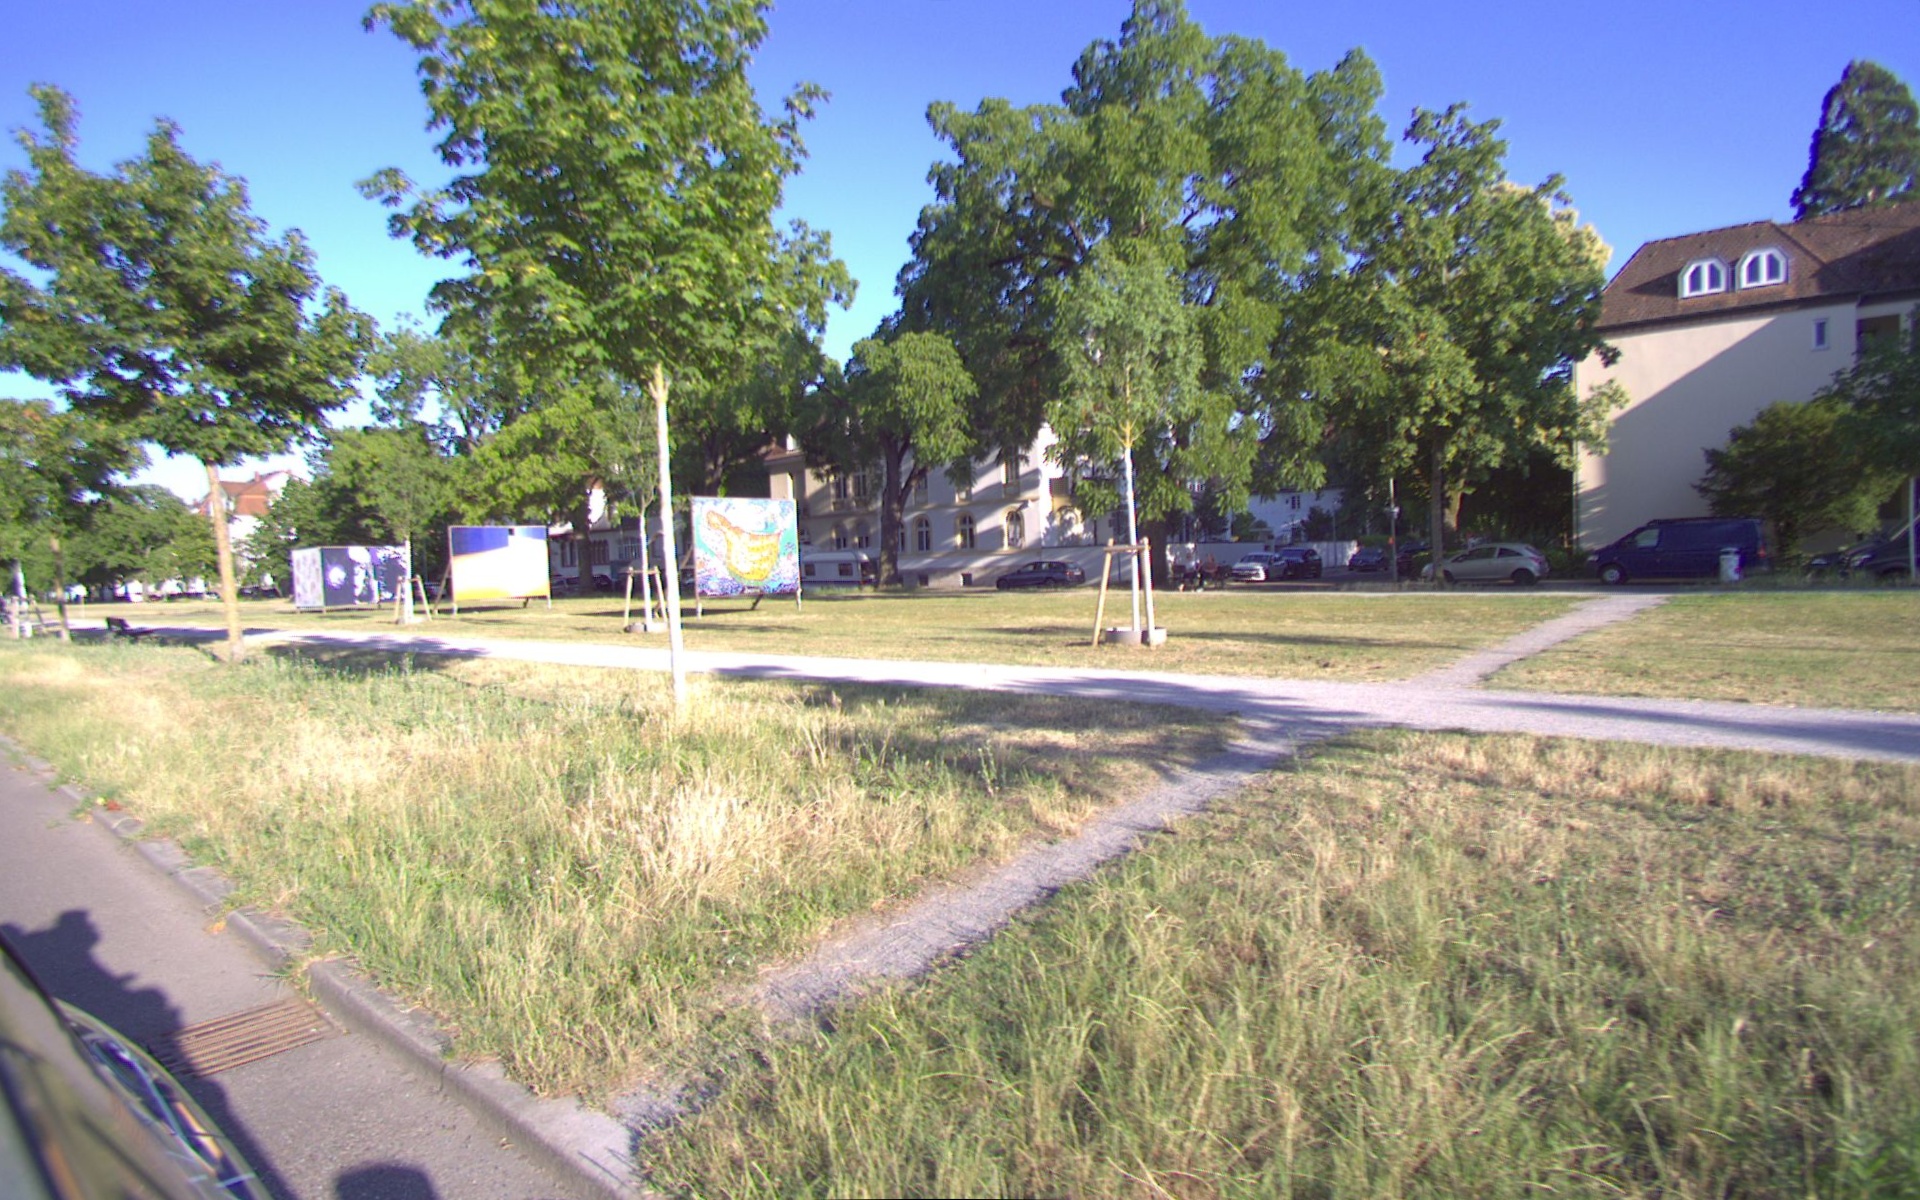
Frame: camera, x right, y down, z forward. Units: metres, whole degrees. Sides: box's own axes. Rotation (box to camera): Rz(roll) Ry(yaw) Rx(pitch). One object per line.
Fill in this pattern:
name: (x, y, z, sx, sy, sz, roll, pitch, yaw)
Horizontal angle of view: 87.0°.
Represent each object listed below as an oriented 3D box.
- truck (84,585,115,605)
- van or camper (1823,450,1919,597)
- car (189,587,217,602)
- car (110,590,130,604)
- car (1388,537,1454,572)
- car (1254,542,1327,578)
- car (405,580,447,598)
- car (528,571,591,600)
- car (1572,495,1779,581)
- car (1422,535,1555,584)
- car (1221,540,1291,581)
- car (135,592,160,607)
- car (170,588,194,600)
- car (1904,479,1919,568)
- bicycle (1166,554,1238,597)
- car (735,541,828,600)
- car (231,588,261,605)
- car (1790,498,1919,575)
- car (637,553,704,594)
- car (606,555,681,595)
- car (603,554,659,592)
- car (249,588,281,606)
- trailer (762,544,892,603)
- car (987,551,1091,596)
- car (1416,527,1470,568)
truck: (-146.320, -0.910, 172.083, 7.704, 3.169, 2.750, -1, 3, 40)
van or camper: (23.854, -1.812, 22.590, 6.903, 3.287, 2.614, -1, 2, 42)
car: (-95.766, -0.707, 127.973, 3.998, 1.715, 1.973, -1, 1, 42)
car: (-134.284, -0.491, 161.813, 4.001, 2.028, 1.972, -1, 1, 44)
car: (24.201, -2.419, 53.024, 2.178, 1.692, 4.094, -1, 2, 39)
car: (18.086, -2.192, 55.282, 2.070, 1.782, 5.001, -1, 2, 40)
car: (-50.344, -1.060, 95.445, 3.993, 1.510, 1.976, -1, 1, 37)
car: (-26.541, -0.970, 67.018, 4.341, 1.741, 1.974, -1, 1, 40)
car: (22.432, -1.850, 31.867, 5.116, 2.437, 1.916, 1, -1, 42)
car: (18.481, -1.401, 35.421, 3.806, 1.554, 1.974, -1, 2, 40)
car: (14.928, -2.016, 50.874, 1.978, 1.914, 4.472, -1, 2, 36)
car: (-119.155, -0.055, 148.369, 3.997, 2.029, 2.099, 1, -1, 40)
car: (-120.377, -0.898, 156.628, 3.995, 1.859, 1.974, 1, -1, 38)
car: (23.854, -1.812, 22.590, 3.999, 2.028, 1.973, -1, 2, 42)
bicycle: (7.822, -0.781, 32.786, 2.331, 1.352, 0.505, -1, 2, 45)
car: (-10.755, -1.732, 60.636, 6.072, 3.273, 1.973, -1, 1, 41)
car: (-80.680, -0.397, 114.357, 3.999, 1.858, 1.972, 1, -1, 42)
car: (26.552, -1.803, 28.345, 5.048, 2.019, 1.949, 0, 2, 42)
car: (-19.637, -1.758, 68.625, 5.043, 2.659, 1.925, 1, -1, 42)
car: (-18.819, -1.475, 60.117, 4.566, 2.190, 1.974, -1, 1, 39)
car: (-23.344, -1.932, 71.747, 3.999, 2.560, 1.973, 2, 3, 41)
car: (-75.552, -0.321, 109.933, 3.999, 1.858, 1.972, 1, -1, 42)
trailer: (-6.552, -1.242, 49.265, 6.633, 2.679, 2.448, 1, -1, 41)
car: (3.727, -1.246, 48.215, 4.713, 1.926, 1.870, -1, 2, 42)
car: (27.232, -2.963, 56.989, 1.868, 2.139, 3.949, -1, 2, 39)
